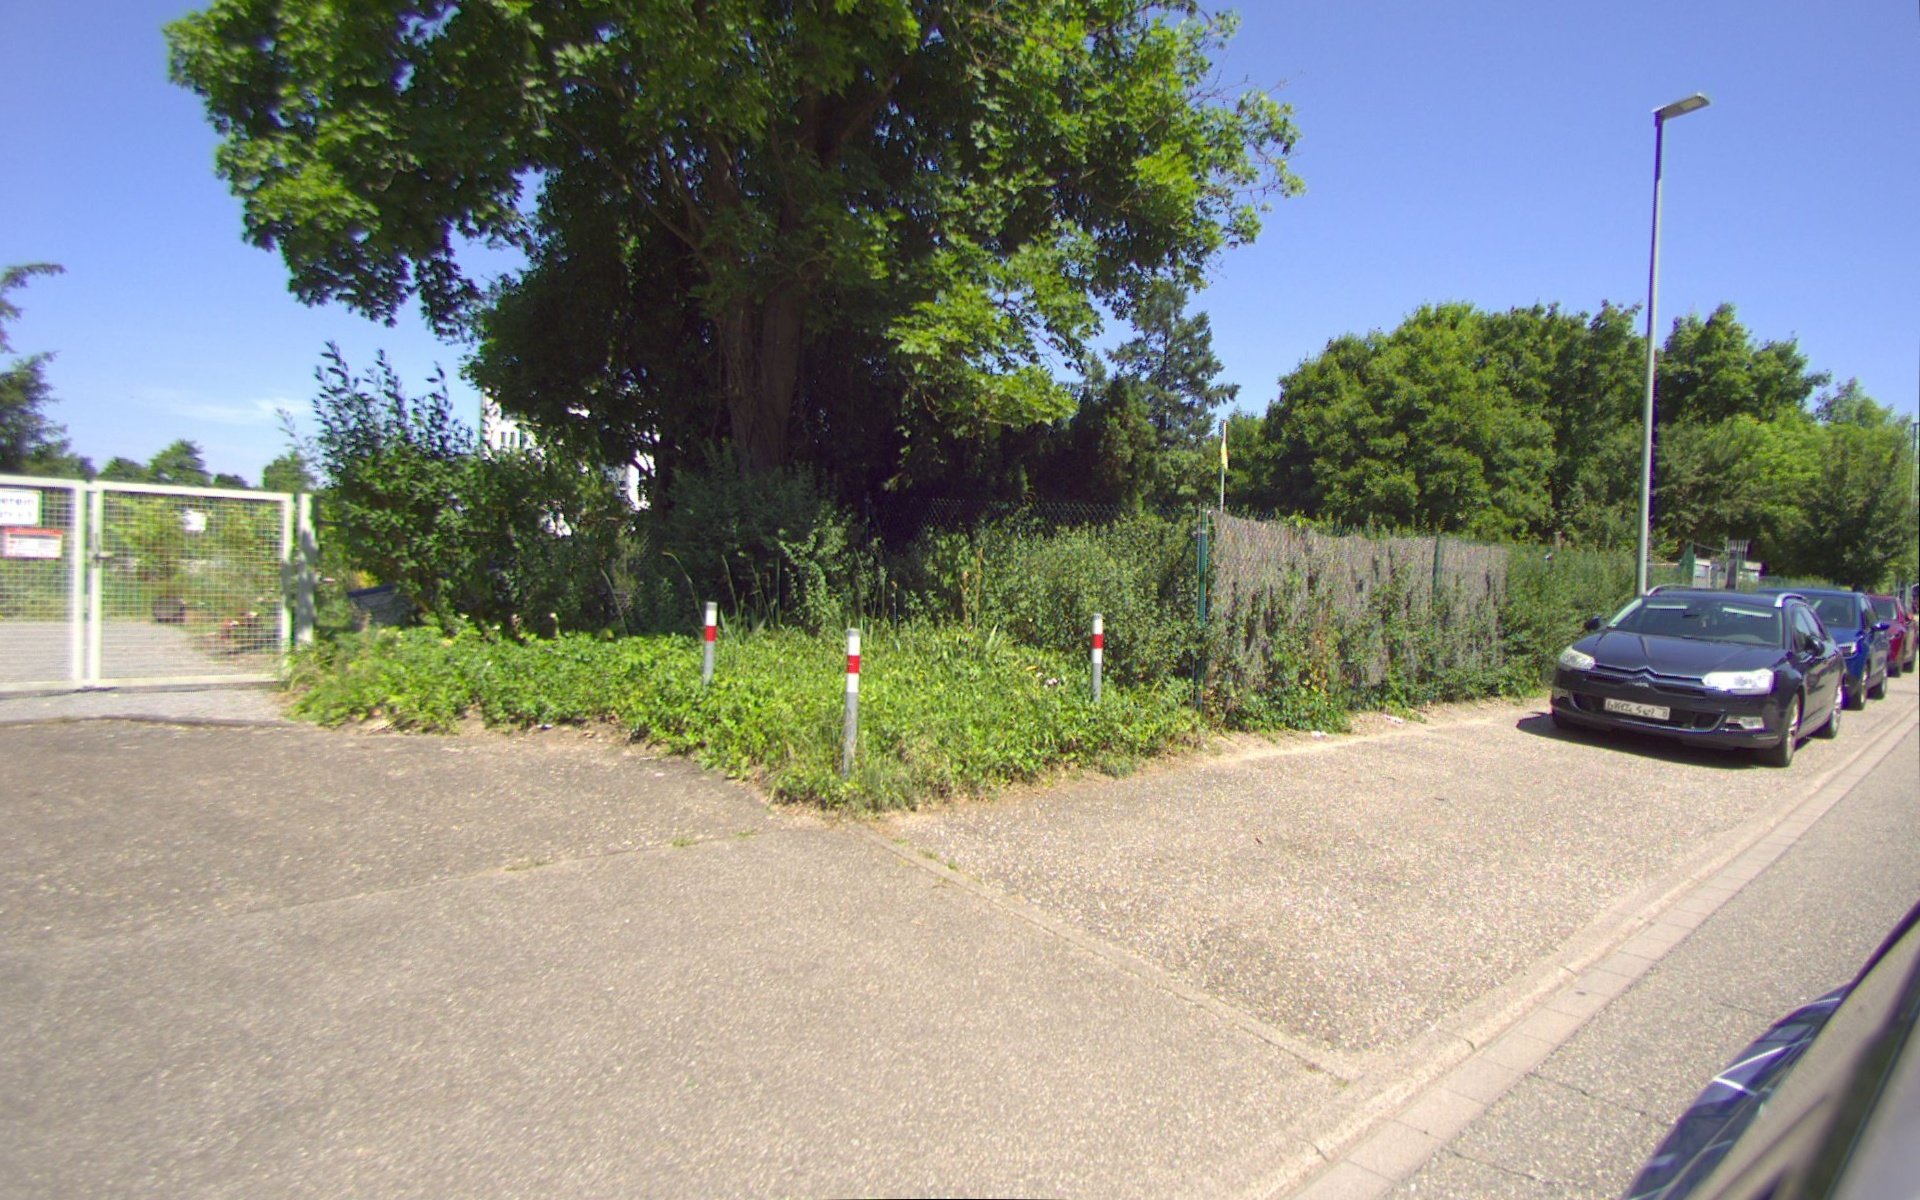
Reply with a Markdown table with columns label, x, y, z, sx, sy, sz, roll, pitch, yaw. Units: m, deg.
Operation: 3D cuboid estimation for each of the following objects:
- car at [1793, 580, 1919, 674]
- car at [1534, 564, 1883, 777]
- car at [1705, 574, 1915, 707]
| label | x | y | z | sx | sy | sz | roll | pitch | yaw |
| --- | --- | --- | --- | --- | --- | --- | --- | --- | --- |
| car | 19.433 | 0.512 | 21.636 | 4.376 | 1.678 | 1.793 | 0 | 5 | -42 |
| car | 7.578 | 0.540 | 10.053 | 4.584 | 1.499 | 1.794 | 1 | 6 | -42 |
| car | 12.419 | 0.508 | 14.704 | 4.059 | 1.623 | 1.792 | 1 | 2 | -43 |
